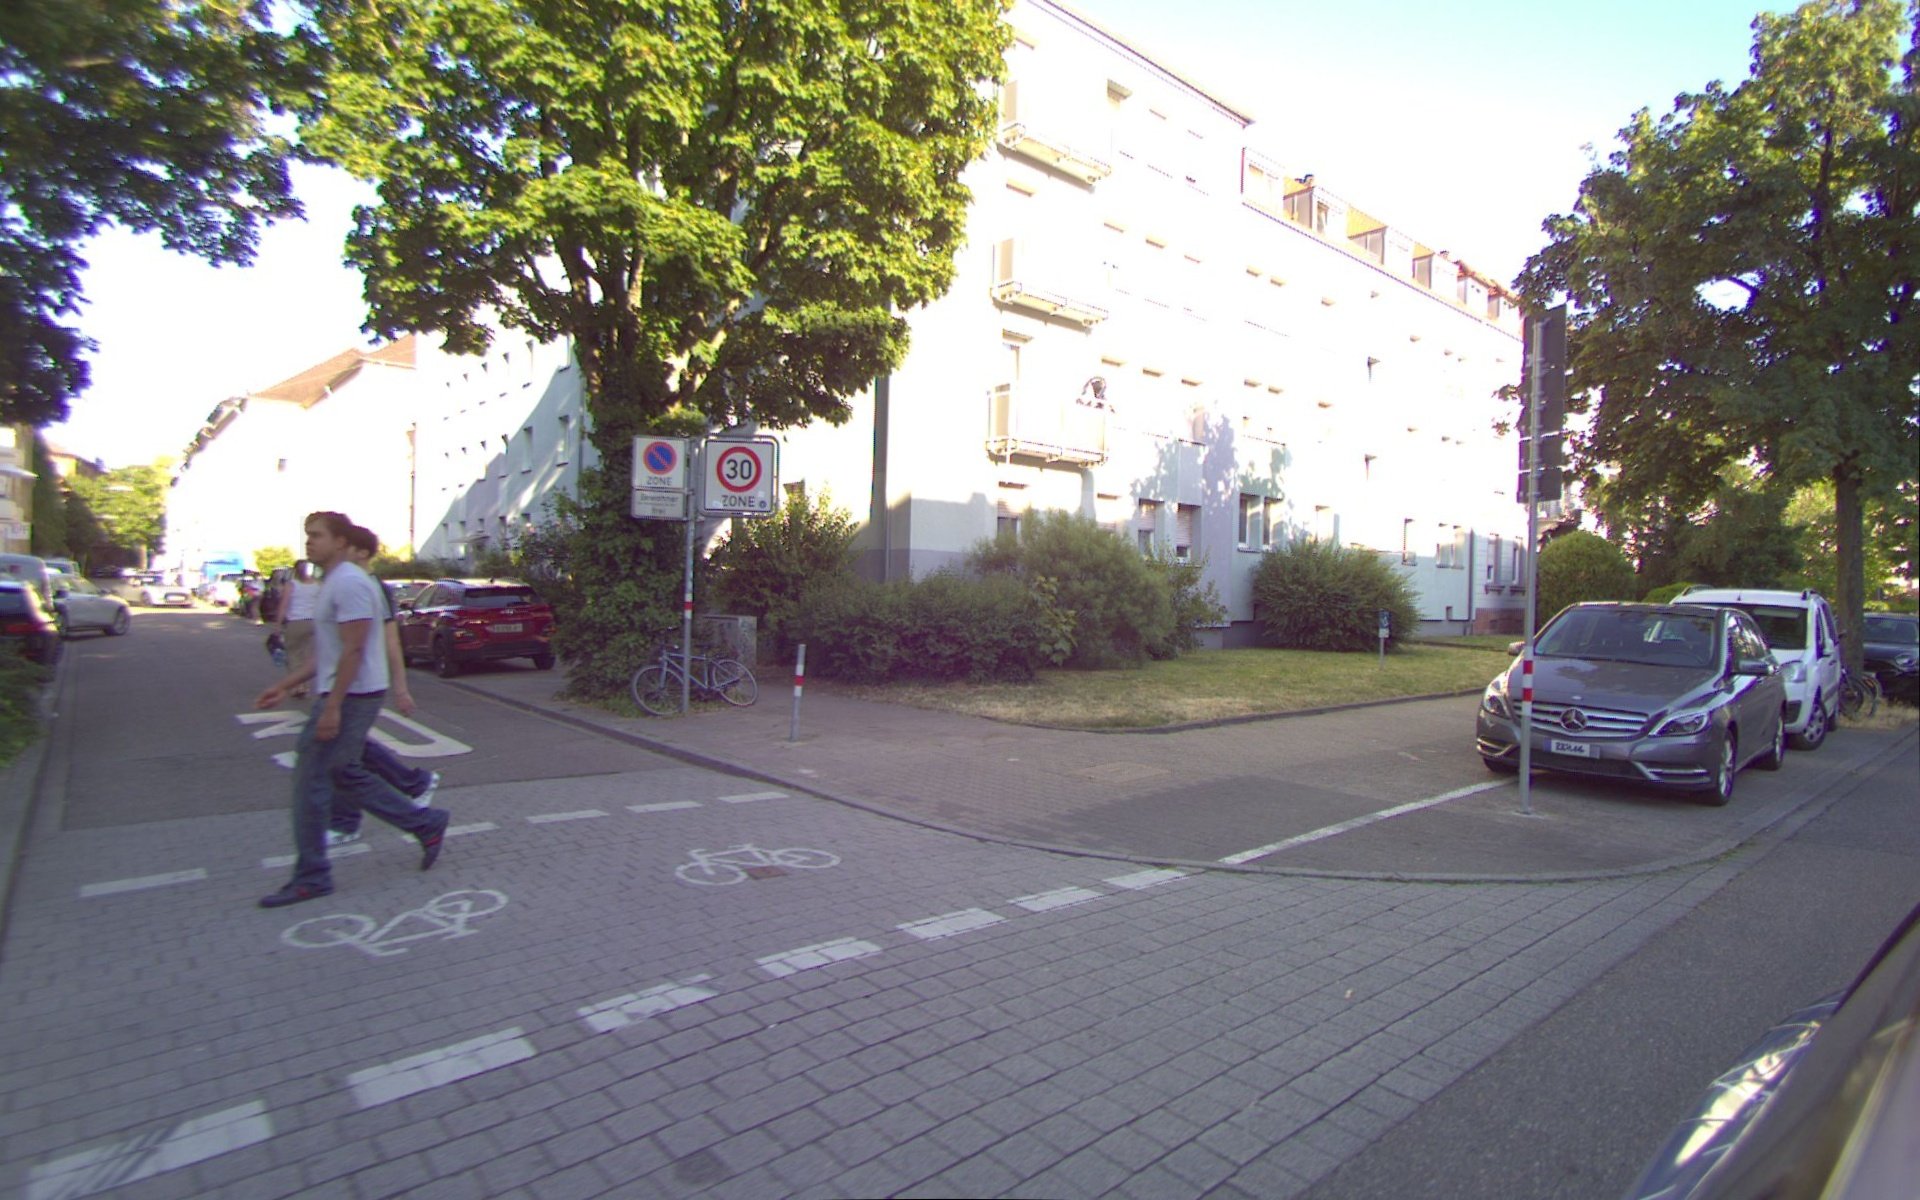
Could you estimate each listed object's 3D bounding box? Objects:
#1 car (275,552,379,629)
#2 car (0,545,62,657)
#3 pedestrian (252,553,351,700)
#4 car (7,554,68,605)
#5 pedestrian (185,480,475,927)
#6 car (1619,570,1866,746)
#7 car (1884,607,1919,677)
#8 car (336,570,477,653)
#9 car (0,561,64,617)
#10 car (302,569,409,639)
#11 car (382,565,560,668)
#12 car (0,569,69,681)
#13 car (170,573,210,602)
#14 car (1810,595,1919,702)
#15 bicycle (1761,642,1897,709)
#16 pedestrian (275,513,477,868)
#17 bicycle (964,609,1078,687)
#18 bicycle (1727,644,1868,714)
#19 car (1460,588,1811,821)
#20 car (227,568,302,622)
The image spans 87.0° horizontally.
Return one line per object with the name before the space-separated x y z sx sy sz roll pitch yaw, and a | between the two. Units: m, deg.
car | -18.224 -0.237 29.062 1.930 2.038 4.246 1 -1 -40
car | -17.787 0.029 18.686 1.729 1.903 4.244 1 -1 -41
pedestrian | -8.149 0.304 12.530 0.739 1.743 0.791 2 1 35
car | -37.814 -0.785 41.564 1.729 2.003 4.244 1 -1 -41
pedestrian | -3.042 0.428 4.900 1.049 1.884 0.750 1 1 -42
car | 9.884 0.620 12.651 4.350 1.831 1.802 1 -1 -44
car | 22.330 0.942 22.955 3.890 1.484 1.616 1 2 -42
car | -11.712 0.238 21.286 1.729 1.577 4.244 1 -1 -41
car | -29.620 -0.317 32.118 1.729 1.665 4.244 1 -1 -41
car | -14.742 0.099 24.604 1.605 1.577 3.645 1 -1 -41
car | -8.636 0.275 17.688 1.729 1.577 4.244 1 -1 -41
car | -14.206 0.329 14.808 1.700 1.480 4.164 1 -1 -41
car | -45.134 -0.726 59.279 1.582 1.630 3.645 1 -1 -41
car | 16.799 0.805 18.063 4.176 1.683 1.758 1 1 -40
bicycle | 13.440 1.145 15.681 0.387 0.880 1.553 1 1 -44
pedestrian | -3.412 0.476 5.955 0.931 1.884 0.802 1 1 -30
bicycle | 0.835 0.615 13.518 1.651 0.956 0.475 1 1 -42
bicycle | 12.175 1.128 14.749 1.551 0.880 0.387 2 1 41
car | 6.312 0.750 9.250 4.181 1.576 1.756 1 2 -44
car | -23.387 -0.140 33.996 1.631 1.711 3.645 1 -1 -41
